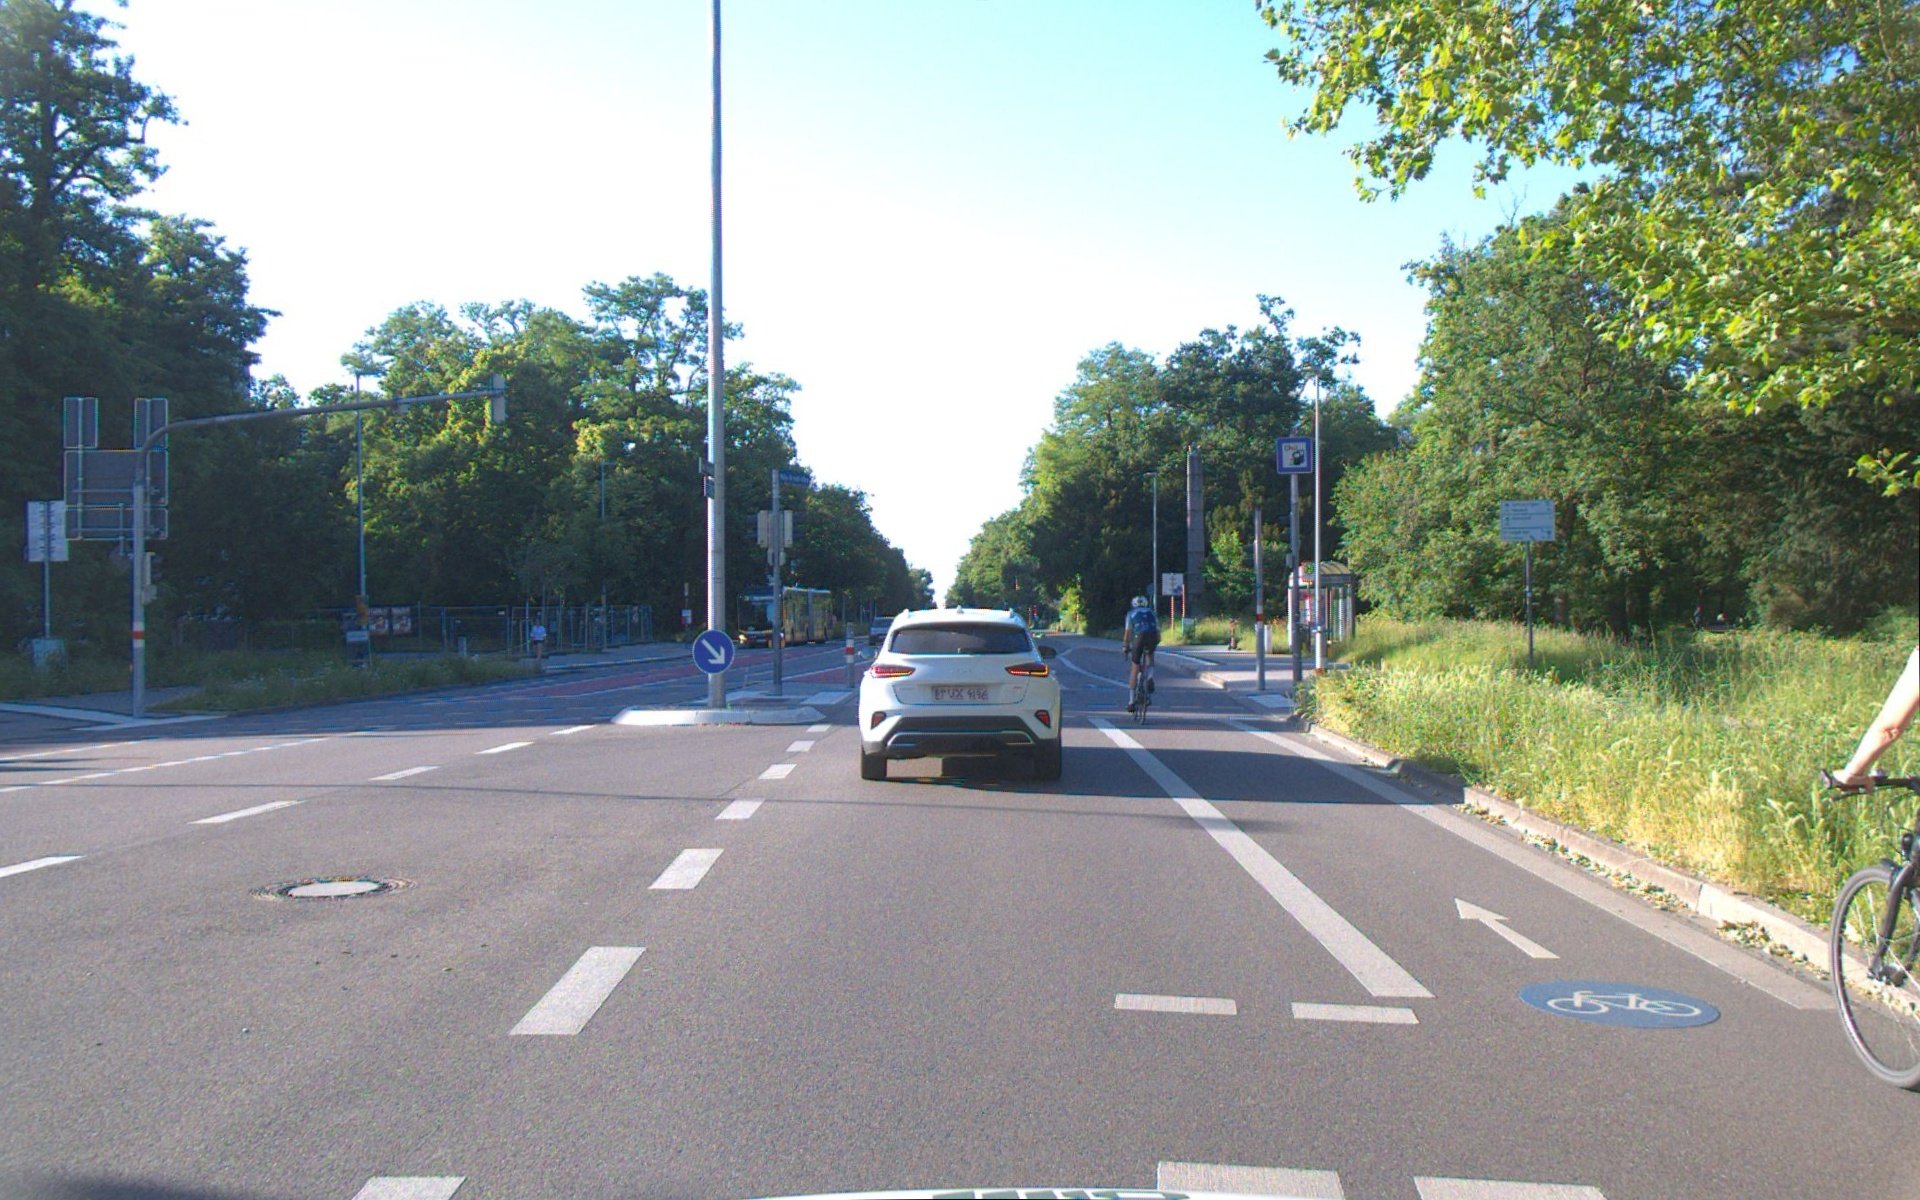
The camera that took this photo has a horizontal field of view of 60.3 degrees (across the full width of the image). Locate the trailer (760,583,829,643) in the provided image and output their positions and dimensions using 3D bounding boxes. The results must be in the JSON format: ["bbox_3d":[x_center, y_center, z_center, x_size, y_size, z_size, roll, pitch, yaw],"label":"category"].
[{"bbox_3d":[-9.987,0.831,100.799,2.795,3.414,9.364,1,-1,2],"label":"trailer"}]

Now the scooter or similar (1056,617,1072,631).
[{"bbox_3d":[9.324,2.164,148.407,1.529,1.272,0.526,0,-1,-44],"label":"scooter or similar"}]

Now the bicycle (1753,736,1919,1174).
[{"bbox_3d":[3.132,1.060,5.120,0.678,1.115,2.138,-1,-1,11],"label":"bicycle"}]

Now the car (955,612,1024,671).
[{"bbox_3d":[0.801,1.064,43.061,1.641,1.442,3.575,-1,-1,3],"label":"car"}]

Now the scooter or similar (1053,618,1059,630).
[{"bbox_3d":[9.650,2.412,166.258,0.522,1.272,1.541,-1,-1,0],"label":"scooter or similar"}]

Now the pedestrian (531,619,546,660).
[{"bbox_3d":[-15.888,1.487,62.355,0.442,1.560,0.571,-1,-1,-4],"label":"pedestrian"}]

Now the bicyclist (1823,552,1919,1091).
[{"bbox_3d":[3.084,0.620,4.925,0.678,1.516,0.801,-1,-1,11],"label":"bicyclist"}]

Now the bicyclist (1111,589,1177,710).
[{"bbox_3d":[2.474,0.657,22.288,0.841,1.594,0.881,1,-1,5],"label":"bicyclist"}]

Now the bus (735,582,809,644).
[{"bbox_3d":[-10.341,0.722,91.844,2.781,3.253,8.601,-1,-1,2],"label":"bus"}]

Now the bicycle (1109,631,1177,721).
[{"bbox_3d":[2.465,1.003,22.455,0.872,1.114,2.137,1,0,5],"label":"bicycle"}]

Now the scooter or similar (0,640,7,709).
[{"bbox_3d":[-18.955,1.440,31.247,0.680,1.316,1.493,-1,-1,30],"label":"scooter or similar"}]

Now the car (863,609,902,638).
[{"bbox_3d":[-4.036,1.214,86.524,1.675,1.446,4.555,-1,0,2],"label":"car"}]

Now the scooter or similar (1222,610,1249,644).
[{"bbox_3d":[10.743,1.054,64.549,0.707,1.269,1.327,-2,-2,23],"label":"scooter or similar"}]

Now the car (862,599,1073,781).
[{"bbox_3d":[-0.044,0.780,15.703,1.726,1.485,3.814,1,-1,-4],"label":"car"}]
